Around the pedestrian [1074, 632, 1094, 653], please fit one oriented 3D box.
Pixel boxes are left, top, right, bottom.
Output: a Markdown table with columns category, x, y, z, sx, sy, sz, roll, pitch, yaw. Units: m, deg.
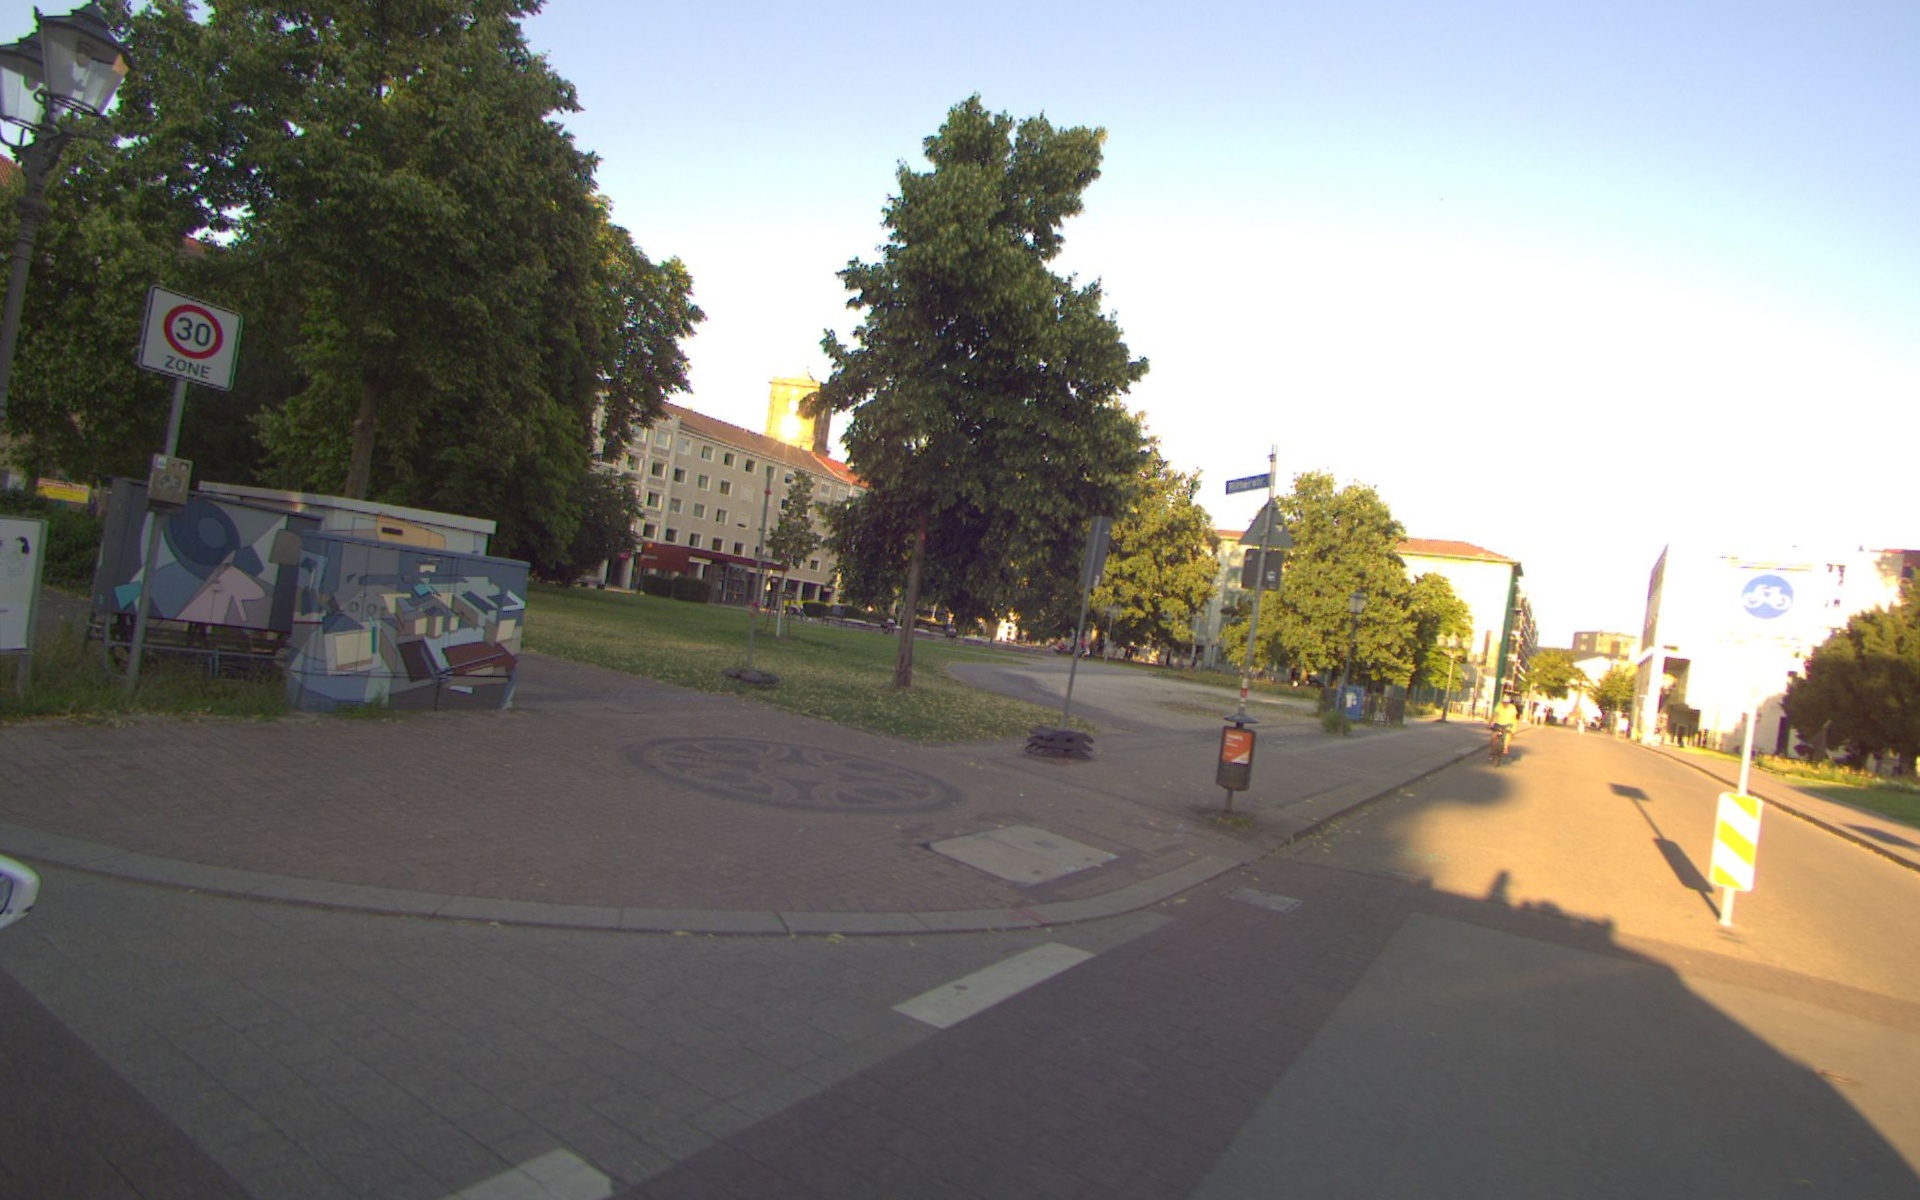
| category | x | y | z | sx | sy | sz | roll | pitch | yaw |
| --- | --- | --- | --- | --- | --- | --- | --- | --- | --- |
| pedestrian | 9.485 | 3.274 | 76.923 | 1.134 | 1.386 | 0.831 | 9 | 0 | -21 |

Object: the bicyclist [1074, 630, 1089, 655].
| category | x | y | z | sx | sy | sz | roll | pitch | yaw |
| --- | --- | --- | --- | --- | --- | --- | --- | --- | --- |
| bicyclist | 8.809 | 3.071 | 72.891 | 0.648 | 1.652 | 0.676 | 8 | 0 | -12 |

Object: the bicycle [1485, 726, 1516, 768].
| category | x | y | z | sx | sy | sz | roll | pitch | yaw |
| --- | --- | --- | --- | --- | --- | --- | --- | --- | --- |
| bicycle | 13.312 | 3.597 | 24.751 | 0.537 | 0.877 | 1.712 | 8 | -1 | 29 |

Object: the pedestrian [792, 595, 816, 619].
| category | x | y | z | sx | sy | sz | roll | pitch | yaw |
| --- | --- | --- | --- | --- | --- | --- | --- | --- | --- |
| pedestrian | -10.046 | 0.450 | 64.886 | 1.061 | 1.308 | 0.834 | 9 | 0 | -39 |

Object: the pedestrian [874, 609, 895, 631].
| category | x | y | z | sx | sy | sz | roll | pitch | yaw |
| --- | --- | --- | --- | --- | --- | --- | --- | --- | --- |
| pedestrian | -4.595 | 1.220 | 61.421 | 0.653 | 1.214 | 1.103 | 8 | 0 | 31 |

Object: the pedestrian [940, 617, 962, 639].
| category | x | y | z | sx | sy | sz | roll | pitch | yaw |
| --- | --- | --- | --- | --- | --- | --- | --- | --- | --- |
| pedestrian | -0.544 | 1.693 | 61.099 | 0.724 | 1.214 | 1.103 | 8 | 0 | 31 |

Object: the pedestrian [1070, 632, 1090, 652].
| category | x | y | z | sx | sy | sz | roll | pitch | yaw |
| --- | --- | --- | --- | --- | --- | --- | --- | --- | --- |
| pedestrian | 9.271 | 3.246 | 77.858 | 1.134 | 1.386 | 0.831 | 9 | 0 | -21 |

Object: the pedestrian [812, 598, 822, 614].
| category | x | y | z | sx | sy | sz | roll | pitch | yaw |
| --- | --- | --- | --- | --- | --- | --- | --- | --- | --- |
| pedestrian | -13.069 | 0.542 | 91.990 | 0.640 | 1.383 | 1.032 | 8 | 0 | -7 |

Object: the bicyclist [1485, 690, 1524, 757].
| category | x | y | z | sx | sy | sz | roll | pitch | yaw |
| --- | --- | --- | --- | --- | --- | --- | --- | --- | --- |
| bicyclist | 13.379 | 3.021 | 24.733 | 0.640 | 1.546 | 0.723 | 8 | 0 | 30 |

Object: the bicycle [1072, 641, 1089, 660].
| category | x | y | z | sx | sy | sz | roll | pitch | yaw |
| --- | --- | --- | --- | --- | --- | --- | --- | --- | --- |
| bicycle | 8.720 | 3.655 | 72.924 | 0.556 | 1.191 | 1.771 | 8 | 0 | -11 |
